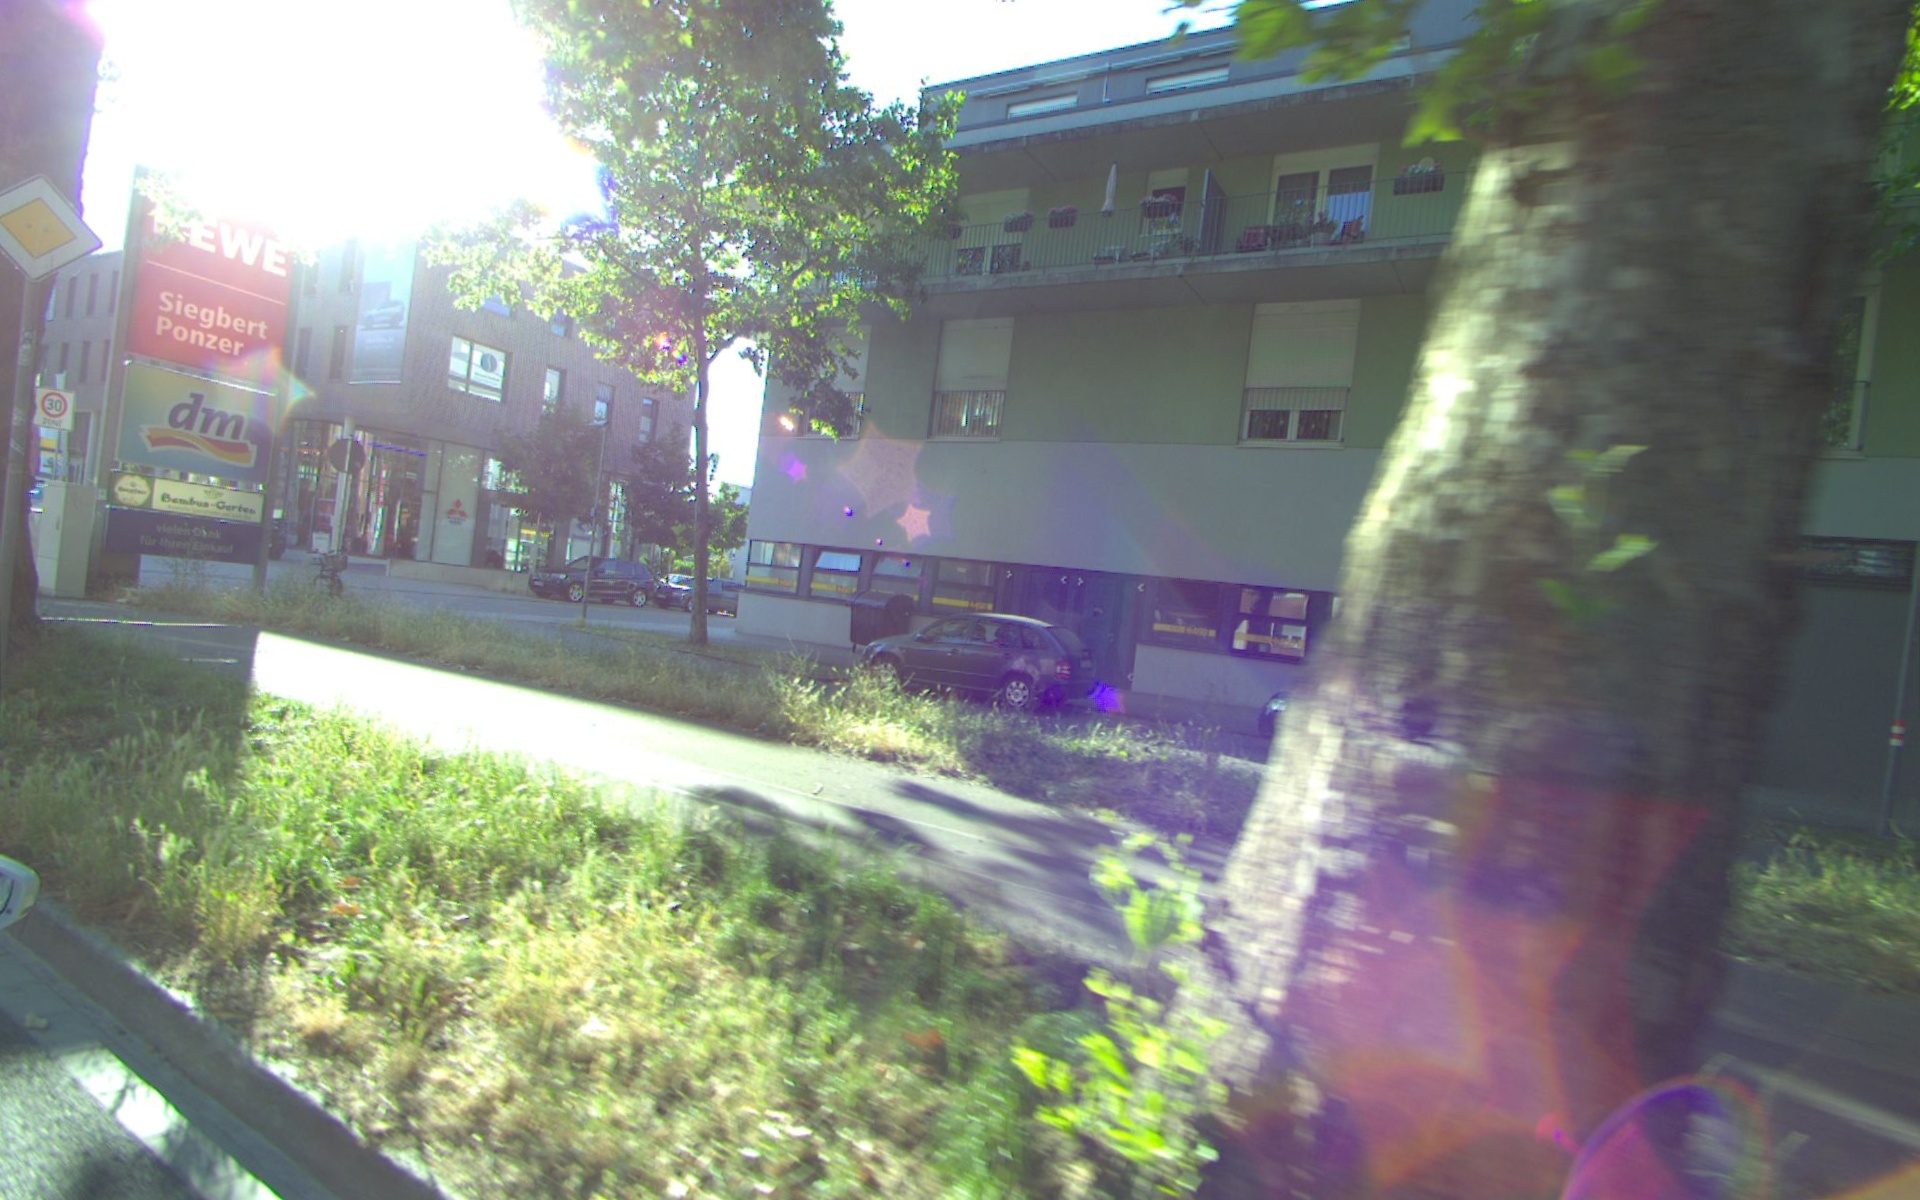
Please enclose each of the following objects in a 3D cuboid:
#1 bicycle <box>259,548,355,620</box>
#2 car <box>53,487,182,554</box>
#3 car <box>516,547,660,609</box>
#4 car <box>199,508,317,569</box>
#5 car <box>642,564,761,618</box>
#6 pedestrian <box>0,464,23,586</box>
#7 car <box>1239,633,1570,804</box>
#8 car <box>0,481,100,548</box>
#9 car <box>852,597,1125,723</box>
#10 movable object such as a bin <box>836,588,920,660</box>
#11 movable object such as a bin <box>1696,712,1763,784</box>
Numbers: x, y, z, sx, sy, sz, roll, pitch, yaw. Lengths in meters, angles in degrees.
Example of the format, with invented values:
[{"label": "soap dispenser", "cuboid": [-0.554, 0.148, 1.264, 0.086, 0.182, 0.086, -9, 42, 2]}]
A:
[{"label": "bicycle", "cuboid": [-10.855, -0.262, 16.729, 1.458, 1.016, 0.384, 7, 1, 15]}, {"label": "car", "cuboid": [-28.541, -2.692, 34.051, 4.108, 1.755, 1.879, 7, 0, 28]}, {"label": "car", "cuboid": [-13.103, -0.734, 35.692, 1.995, 1.683, 4.490, 7, 1, 28]}, {"label": "car", "cuboid": [-25.963, -2.274, 37.167, 4.111, 1.755, 1.988, 7, 0, 31]}, {"label": "car", "cuboid": [-10.247, -0.301, 40.205, 1.995, 1.683, 4.490, 7, 1, 28]}, {"label": "pedestrian", "cuboid": [-14.410, -1.135, 14.672, 0.651, 1.784, 0.770, 6, 2, 11]}, {"label": "car", "cuboid": [5.910, 1.482, 13.475, 3.697, 1.572, 1.861, 7, 0, 31]}, {"label": "car", "cuboid": [-29.307, -2.754, 31.848, 4.108, 1.705, 1.730, 7, 0, 28]}, {"label": "car", "cuboid": [0.451, 0.951, 16.851, 4.053, 1.487, 1.862, 7, 0, 29]}, {"label": "movable object such as a bin", "cuboid": [-1.917, 0.556, 23.470, 1.388, 1.481, 1.191, 7, 0, 43]}, {"label": "movable object such as a bin", "cuboid": [11.771, 2.250, 15.402, 0.652, 0.955, 0.629, 7, 1, 32]}]
